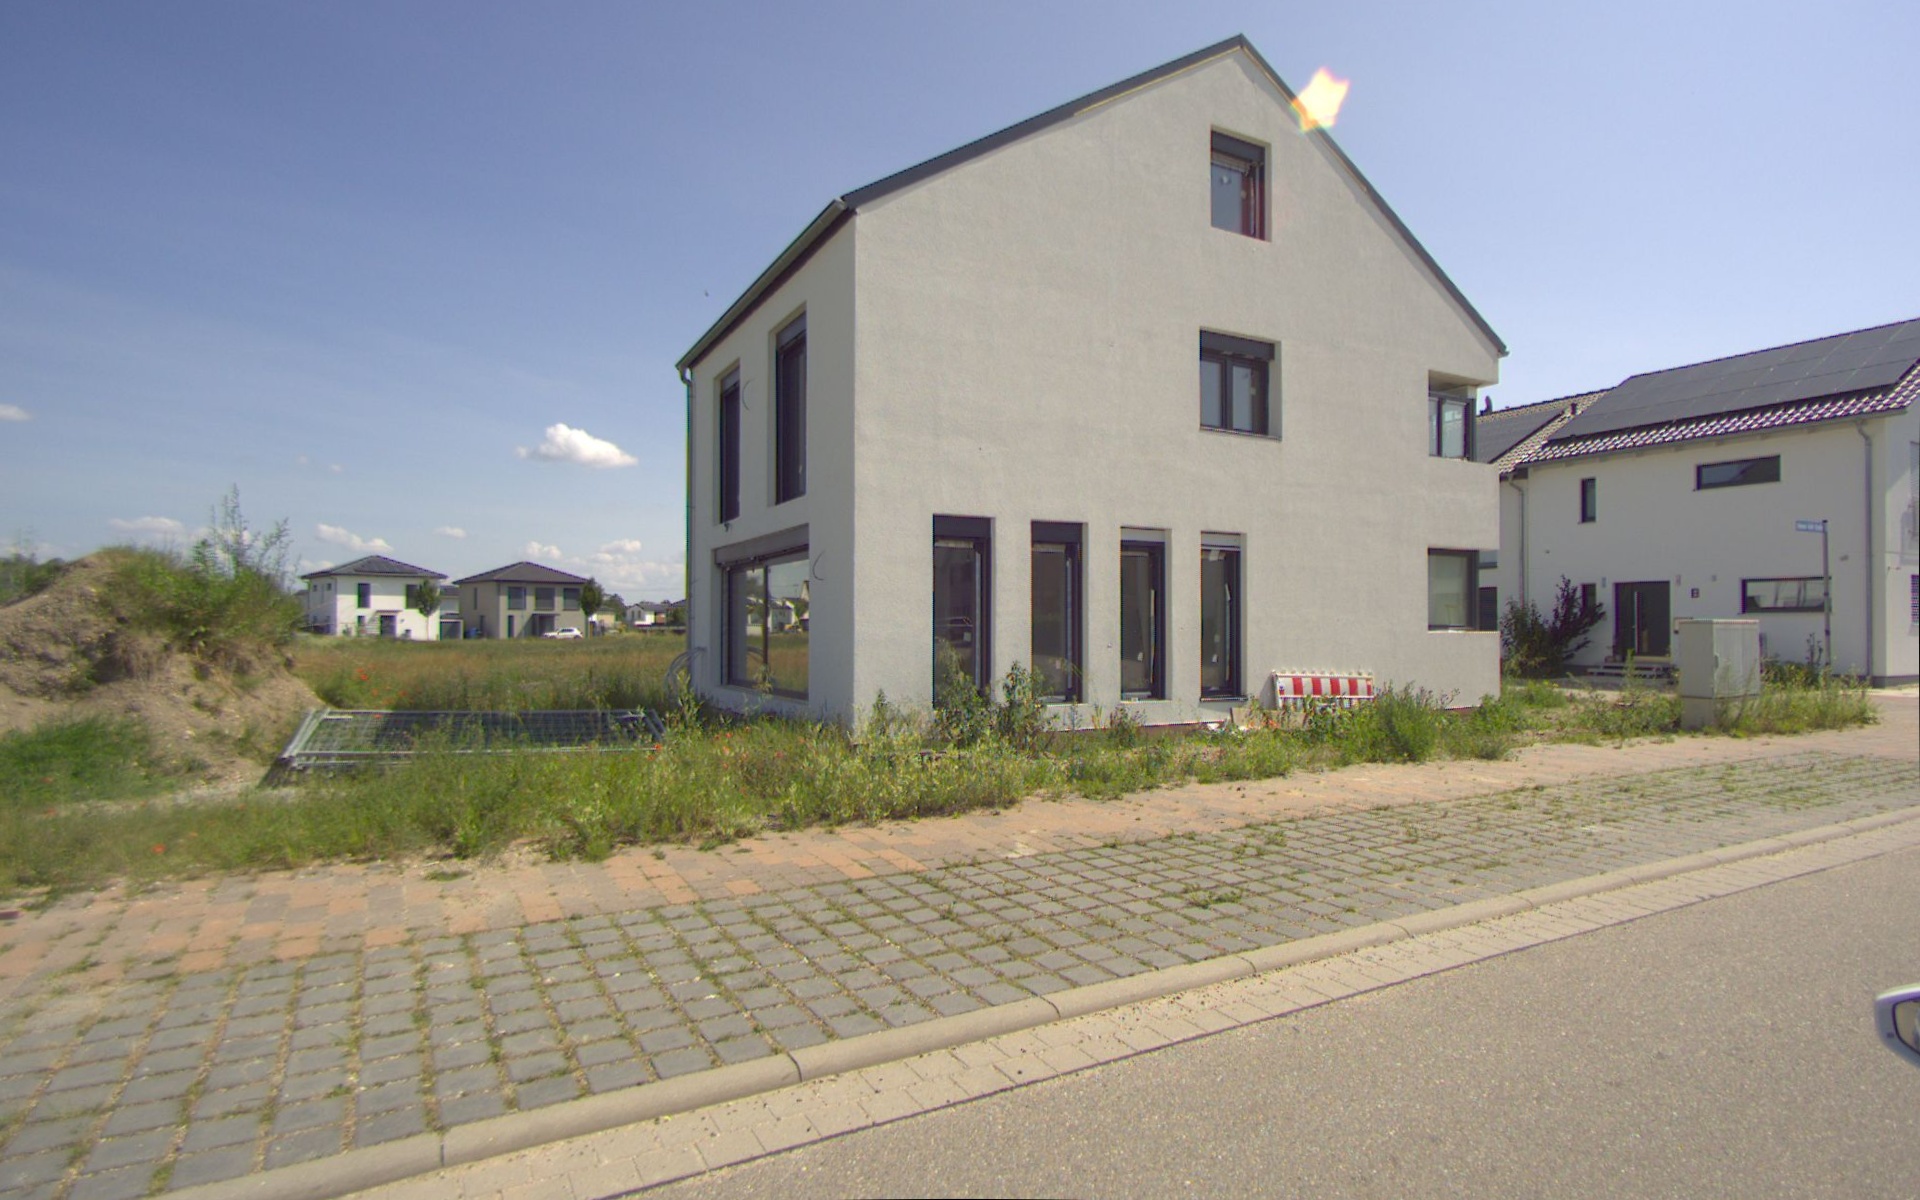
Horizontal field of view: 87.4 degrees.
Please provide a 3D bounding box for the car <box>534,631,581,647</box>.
[{"bbox_3d":[-39.216,3.800,97.964,3.962,1.572,1.816,1,-2,-37],"label":"car"}]
